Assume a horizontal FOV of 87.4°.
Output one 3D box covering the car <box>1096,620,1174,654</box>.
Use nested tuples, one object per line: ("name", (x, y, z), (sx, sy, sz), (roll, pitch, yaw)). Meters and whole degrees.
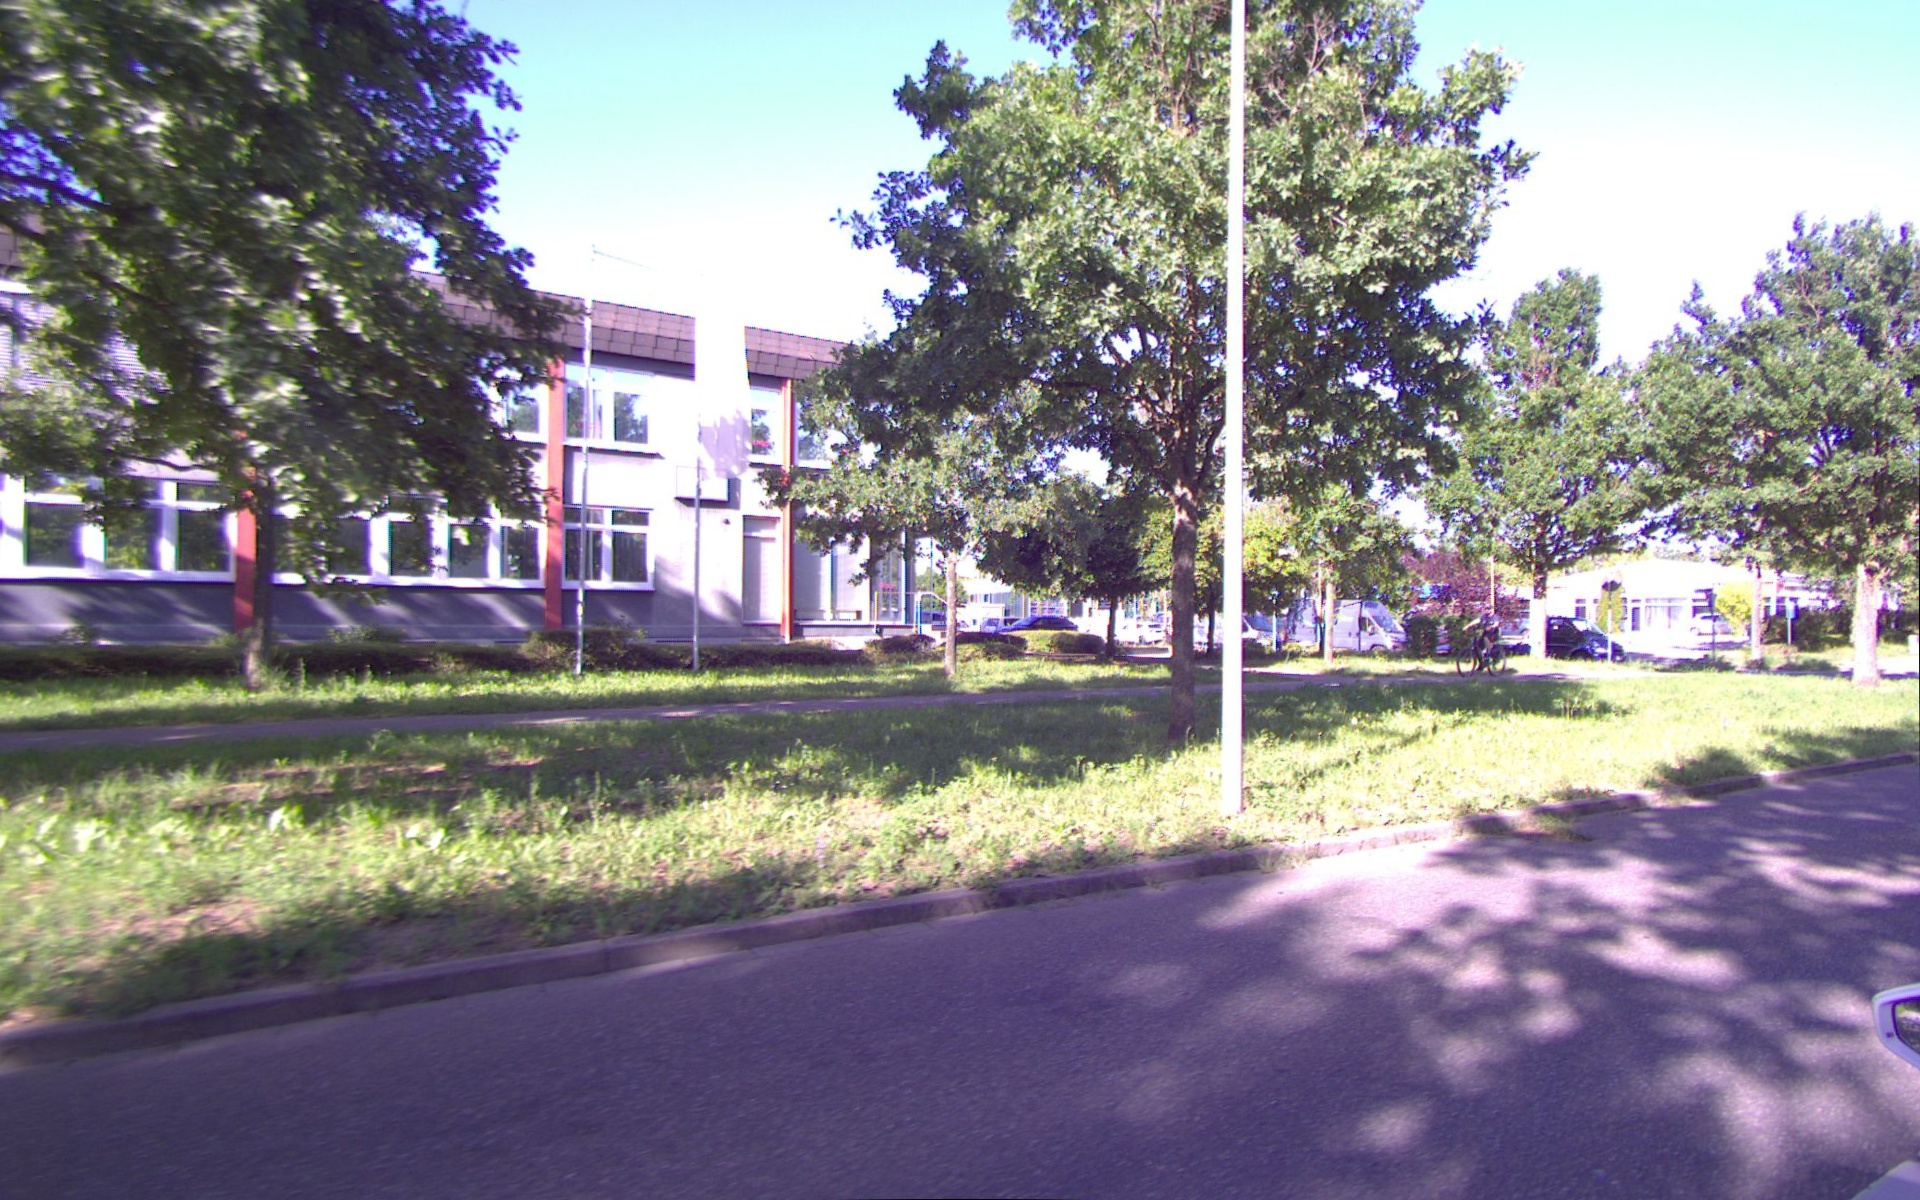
("car", (12.323, 2.599, 70.991), (2.279, 2.132, 5.307), (2, 0, -35))

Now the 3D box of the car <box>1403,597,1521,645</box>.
("car", (30.753, 1.267, 61.700), (2.279, 2.739, 6.117), (2, 0, -35))

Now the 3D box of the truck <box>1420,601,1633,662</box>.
("truck", (22.060, 1.153, 39.533), (2.121, 2.077, 7.059), (2, 0, -37))

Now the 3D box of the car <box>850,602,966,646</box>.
("car", (-2.082, 0.982, 40.579), (4.254, 1.514, 1.982), (4, -1, -33))

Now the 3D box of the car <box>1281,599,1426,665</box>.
("car", (17.762, 1.391, 45.646), (2.279, 2.738, 5.821), (2, 0, -35))

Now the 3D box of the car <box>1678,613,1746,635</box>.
("car", (52.940, 1.689, 70.748), (1.578, 1.518, 3.570), (2, -1, -37))

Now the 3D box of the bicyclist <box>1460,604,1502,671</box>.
("bicyclist", (13.118, 0.948, 25.318), (0.651, 1.650, 0.661), (2, 0, -30))

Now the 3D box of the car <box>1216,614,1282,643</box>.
("car", (20.101, 1.973, 69.901), (1.867, 1.910, 4.210), (1, -1, -35))

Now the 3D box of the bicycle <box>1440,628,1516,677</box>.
("bicycle", (13.016, 1.322, 25.213), (2.307, 1.177, 0.548), (2, 0, -31))

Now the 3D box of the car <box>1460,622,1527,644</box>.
("car", (34.433, 2.102, 64.920), (1.559, 1.319, 3.499), (1, -1, -35))

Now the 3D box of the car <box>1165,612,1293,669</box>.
("car", (13.626, 2.005, 51.401), (2.279, 2.549, 6.295), (2, 0, -35))
